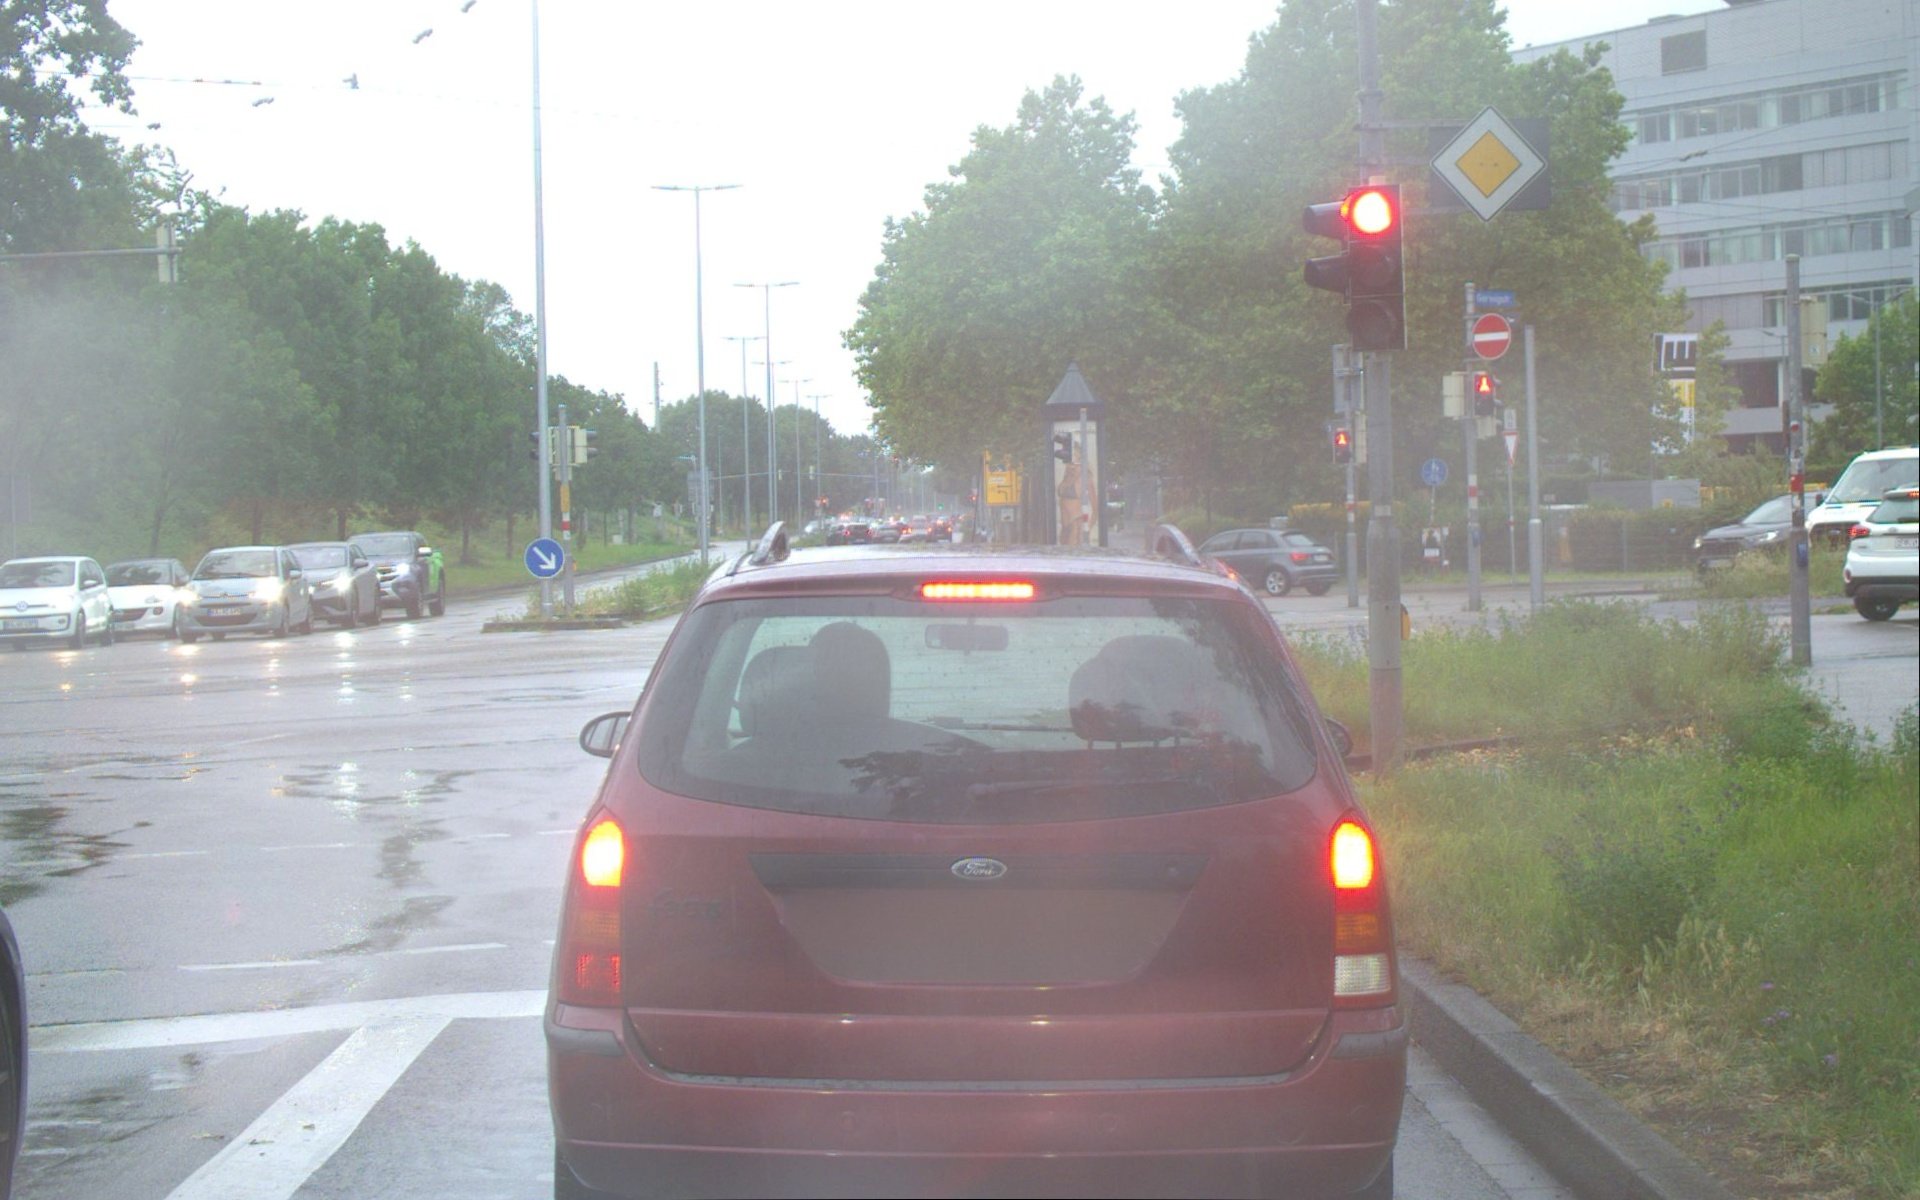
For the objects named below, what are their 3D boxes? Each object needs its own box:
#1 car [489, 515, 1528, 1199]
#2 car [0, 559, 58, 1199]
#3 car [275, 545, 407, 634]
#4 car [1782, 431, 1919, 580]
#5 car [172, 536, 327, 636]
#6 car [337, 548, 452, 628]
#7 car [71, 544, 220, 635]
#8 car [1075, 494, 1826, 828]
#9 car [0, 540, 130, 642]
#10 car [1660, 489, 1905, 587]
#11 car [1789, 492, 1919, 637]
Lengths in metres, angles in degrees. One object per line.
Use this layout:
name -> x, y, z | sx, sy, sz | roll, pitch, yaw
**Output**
car -> 0.056, 0.590, 8.175 | 1.796, 1.532, 4.387 | 1, 1, -1
car -> -2.693, 0.674, 4.828 | 1.690, 1.428, 4.574 | 0, 1, -1
car -> -11.304, -0.218, 62.989 | 1.712, 1.525, 4.000 | -1, 1, -1
car -> 15.060, -1.547, 53.680 | 4.374, 2.183, 1.802 | -5, 3, -35
car -> -11.555, -0.258, 56.153 | 1.712, 1.525, 4.000 | -1, 1, -1
car -> -11.593, -0.273, 70.708 | 1.712, 1.525, 4.000 | -1, 1, -1
car -> -14.516, -0.217, 61.472 | 1.712, 1.525, 4.000 | -1, 1, -1
car -> 2.916, 0.258, 19.860 | 4.375, 1.531, 1.801 | -5, 4, -40
car -> -14.608, -0.169, 54.969 | 1.712, 1.525, 4.000 | -1, 1, -1
car -> 13.769, -1.048, 57.481 | 3.988, 1.532, 1.803 | -2, 1, -36
car -> 11.373, -0.435, 37.864 | 4.050, 1.515, 2.000 | -2, 1, -29
